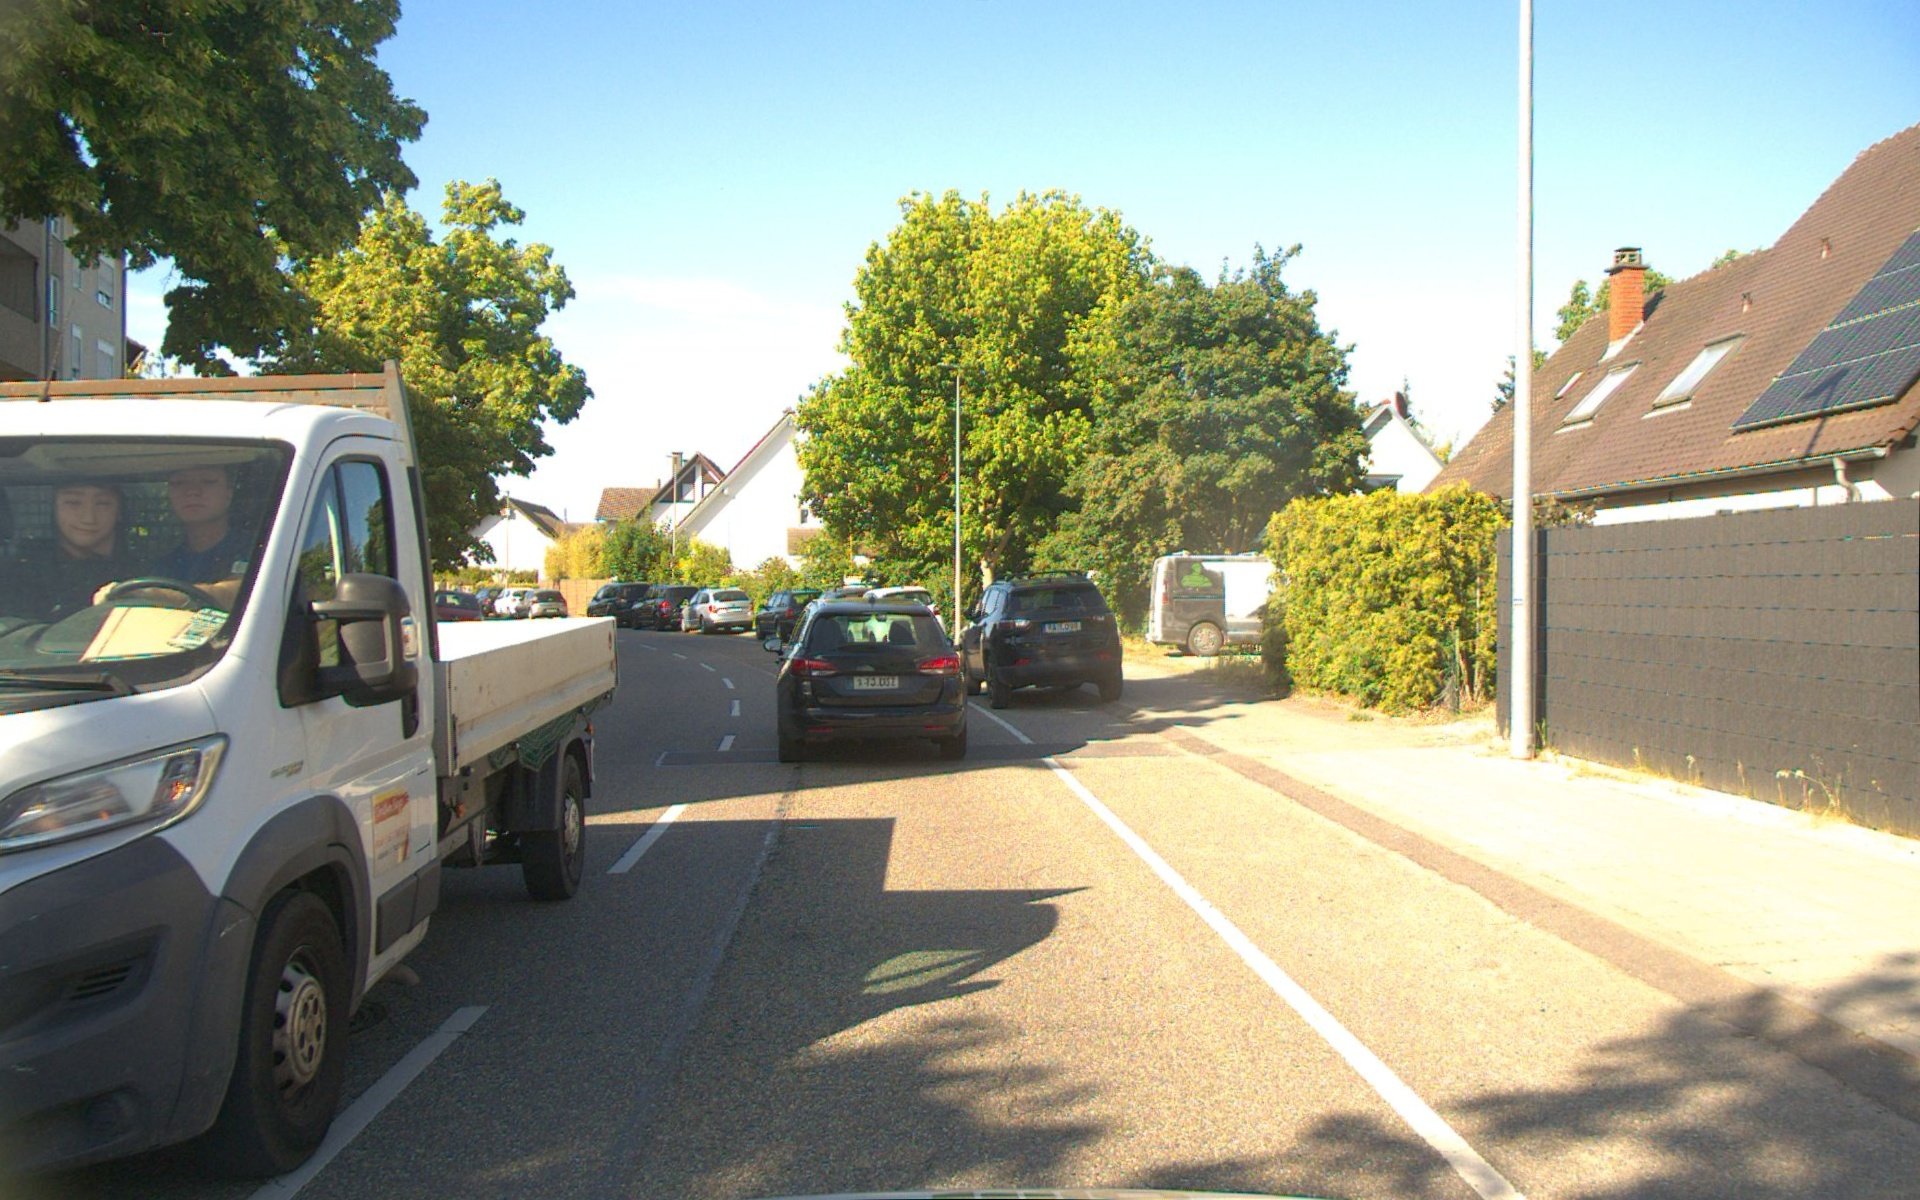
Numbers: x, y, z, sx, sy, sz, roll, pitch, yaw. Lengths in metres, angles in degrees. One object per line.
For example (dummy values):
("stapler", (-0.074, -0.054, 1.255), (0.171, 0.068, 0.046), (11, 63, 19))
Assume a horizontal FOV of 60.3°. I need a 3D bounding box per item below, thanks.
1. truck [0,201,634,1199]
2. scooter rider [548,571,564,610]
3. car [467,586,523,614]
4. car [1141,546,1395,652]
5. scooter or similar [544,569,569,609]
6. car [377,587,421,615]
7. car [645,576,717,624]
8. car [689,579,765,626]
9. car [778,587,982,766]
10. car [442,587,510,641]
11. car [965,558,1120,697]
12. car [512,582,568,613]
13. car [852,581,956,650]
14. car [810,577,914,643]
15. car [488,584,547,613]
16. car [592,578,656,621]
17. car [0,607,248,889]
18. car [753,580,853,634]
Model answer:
("truck", (-2.845, 0.338, 6.683), (2.087, 2.375, 6.438), (-1, 0, -3))
("scooter rider", (-21.576, -0.513, 88.367), (0.678, 2.049, 0.812), (1, -2, -29))
("car", (-24.916, 0.011, 88.566), (1.896, 1.432, 4.250), (0, 0, -30))
("car", (6.064, -0.029, 32.922), (4.587, 2.018, 2.141), (0, 0, -4))
("scooter or similar", (-21.552, -0.583, 88.303), (0.677, 2.049, 2.935), (1, -2, -27))
("car", (-36.346, 0.063, 107.018), (1.984, 1.754, 4.252), (0, 0, -29))
("car", (-10.508, 0.001, 62.061), (1.976, 1.754, 4.269), (0, 0, -20))
("car", (-8.088, 0.079, 57.115), (1.793, 1.561, 4.234), (0, 0, -20))
("car", (-0.809, 0.673, 16.433), (1.727, 1.517, 4.288), (1, 0, -3))
("car", (-14.498, 0.400, 49.401), (1.664, 1.517, 4.265), (1, 0, -20))
("car", (1.052, 0.350, 23.058), (1.742, 1.754, 4.291), (0, 0, -3))
("car", (-20.037, -0.099, 78.842), (1.891, 1.432, 4.261), (0, 0, -24))
("car", (-1.378, 0.351, 38.629), (1.729, 1.506, 4.281), (0, 0, -12))
("car", (-2.636, 0.243, 43.390), (1.880, 1.628, 4.276), (0, 0, -16))
("car", (-22.635, -0.073, 84.446), (1.896, 1.432, 4.250), (0, 0, -30))
("car", (-13.670, -0.019, 67.069), (1.876, 1.695, 4.164), (0, 0, -21))
("car", (-6.467, 0.880, 11.219), (1.624, 1.536, 3.999), (1, 1, -2))
("car", (-4.648, 0.208, 48.408), (1.975, 1.501, 4.270), (0, 0, -19))
